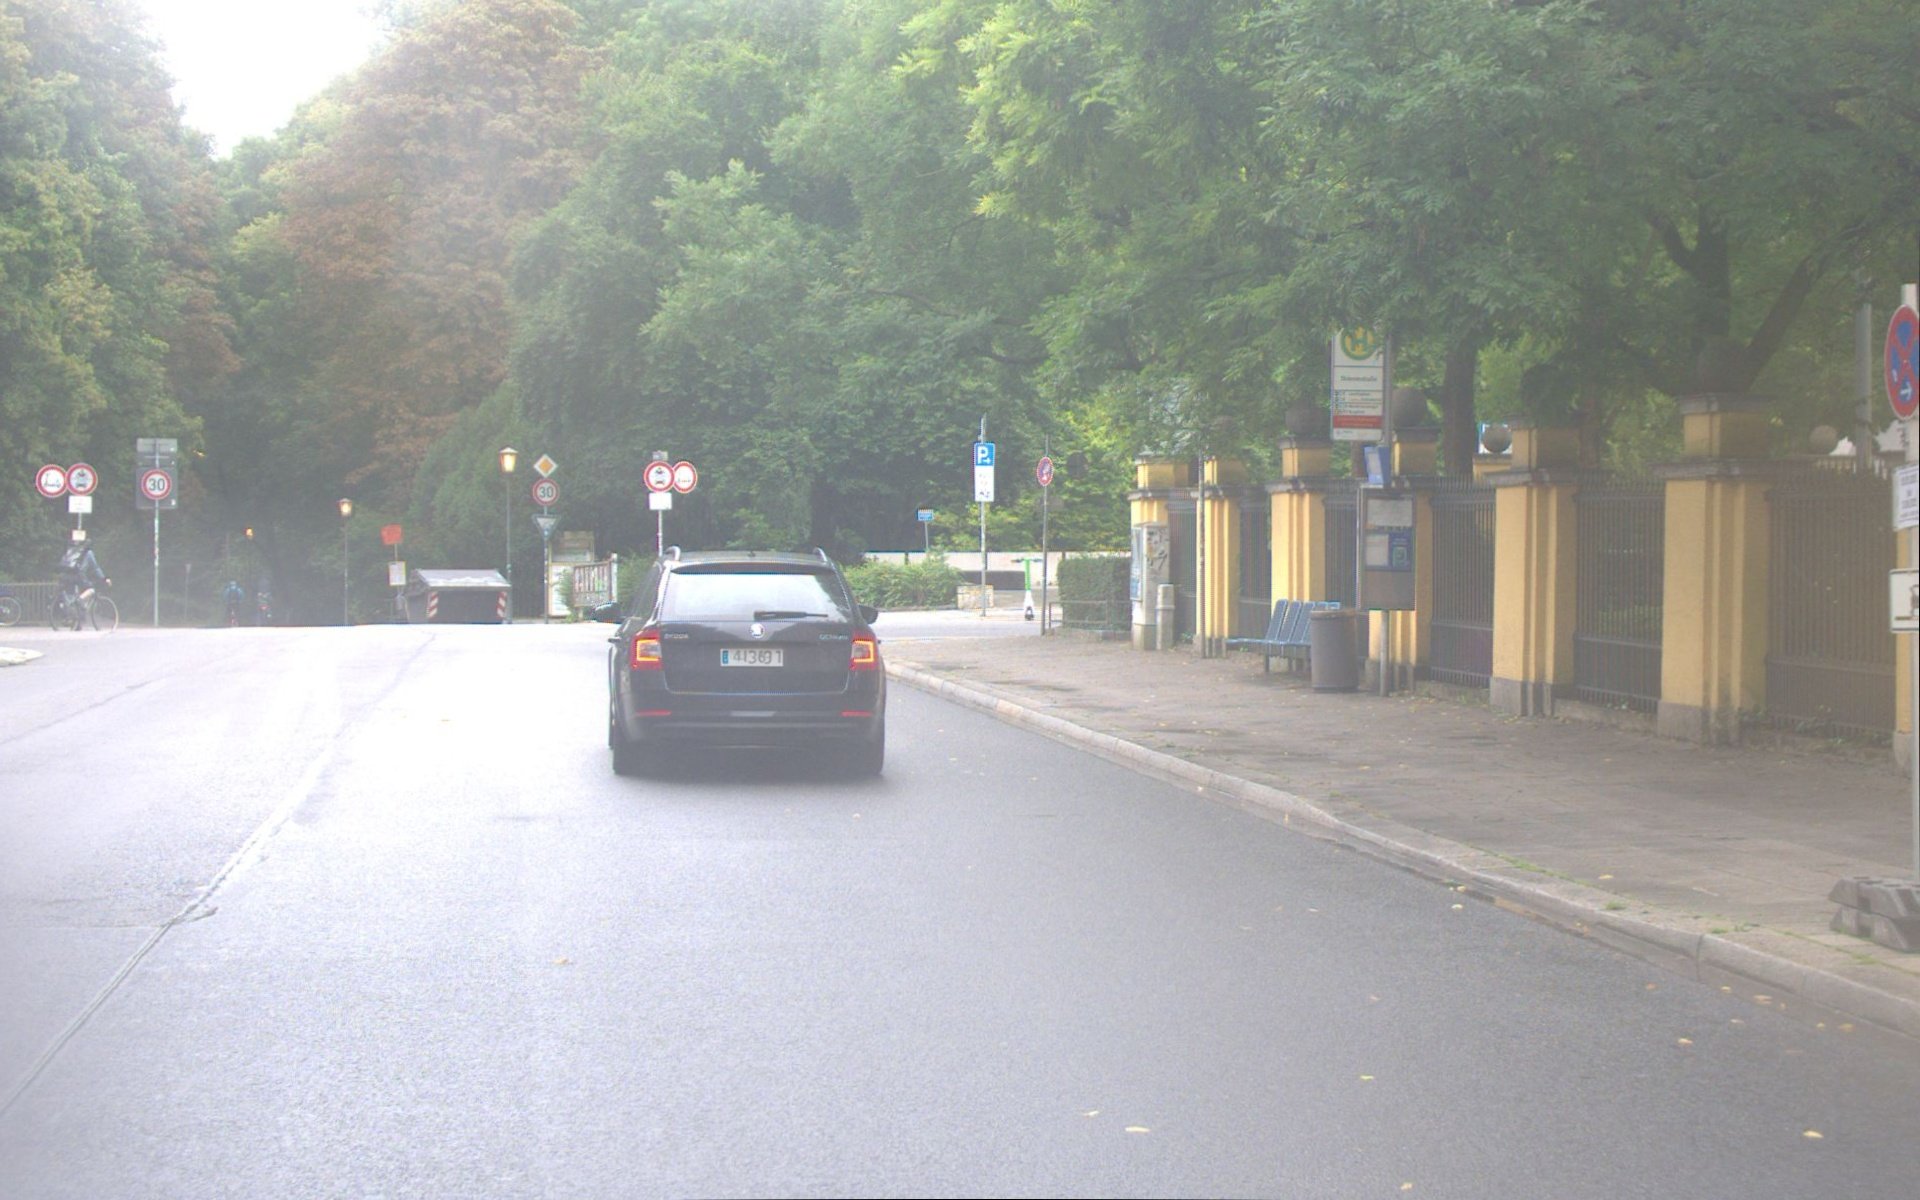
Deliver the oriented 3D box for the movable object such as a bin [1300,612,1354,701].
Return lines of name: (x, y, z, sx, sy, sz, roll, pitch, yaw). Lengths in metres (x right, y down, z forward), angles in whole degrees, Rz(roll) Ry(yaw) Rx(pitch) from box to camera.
movable object such as a bin: (3.315, 0.509, 31.092, 0.396, 0.778, 0.465, -1, 1, -5)

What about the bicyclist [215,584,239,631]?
bicyclist: (-24.113, 0.248, 113.029, 0.680, 1.499, 0.901, -1, 1, -17)

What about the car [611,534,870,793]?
car: (-1.534, 0.361, 23.130, 1.577, 1.578, 4.045, 0, 1, -5)

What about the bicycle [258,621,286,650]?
bicycle: (-20.132, 1.040, 100.581, 0.679, 0.827, 2.110, -1, 0, -14)

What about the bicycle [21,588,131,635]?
bicycle: (-15.950, 0.203, 62.074, 0.680, 0.827, 2.106, -1, 0, 28)

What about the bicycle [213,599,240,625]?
bicycle: (-24.097, 0.387, 112.958, 0.679, 0.827, 2.110, -1, 0, -17)

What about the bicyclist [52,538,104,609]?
bicyclist: (-15.934, -0.478, 62.119, 0.682, 1.278, 0.598, 0, 1, 29)

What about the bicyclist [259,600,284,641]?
bicyclist: (-20.148, 0.609, 100.600, 0.680, 1.183, 0.481, -1, 1, -14)
